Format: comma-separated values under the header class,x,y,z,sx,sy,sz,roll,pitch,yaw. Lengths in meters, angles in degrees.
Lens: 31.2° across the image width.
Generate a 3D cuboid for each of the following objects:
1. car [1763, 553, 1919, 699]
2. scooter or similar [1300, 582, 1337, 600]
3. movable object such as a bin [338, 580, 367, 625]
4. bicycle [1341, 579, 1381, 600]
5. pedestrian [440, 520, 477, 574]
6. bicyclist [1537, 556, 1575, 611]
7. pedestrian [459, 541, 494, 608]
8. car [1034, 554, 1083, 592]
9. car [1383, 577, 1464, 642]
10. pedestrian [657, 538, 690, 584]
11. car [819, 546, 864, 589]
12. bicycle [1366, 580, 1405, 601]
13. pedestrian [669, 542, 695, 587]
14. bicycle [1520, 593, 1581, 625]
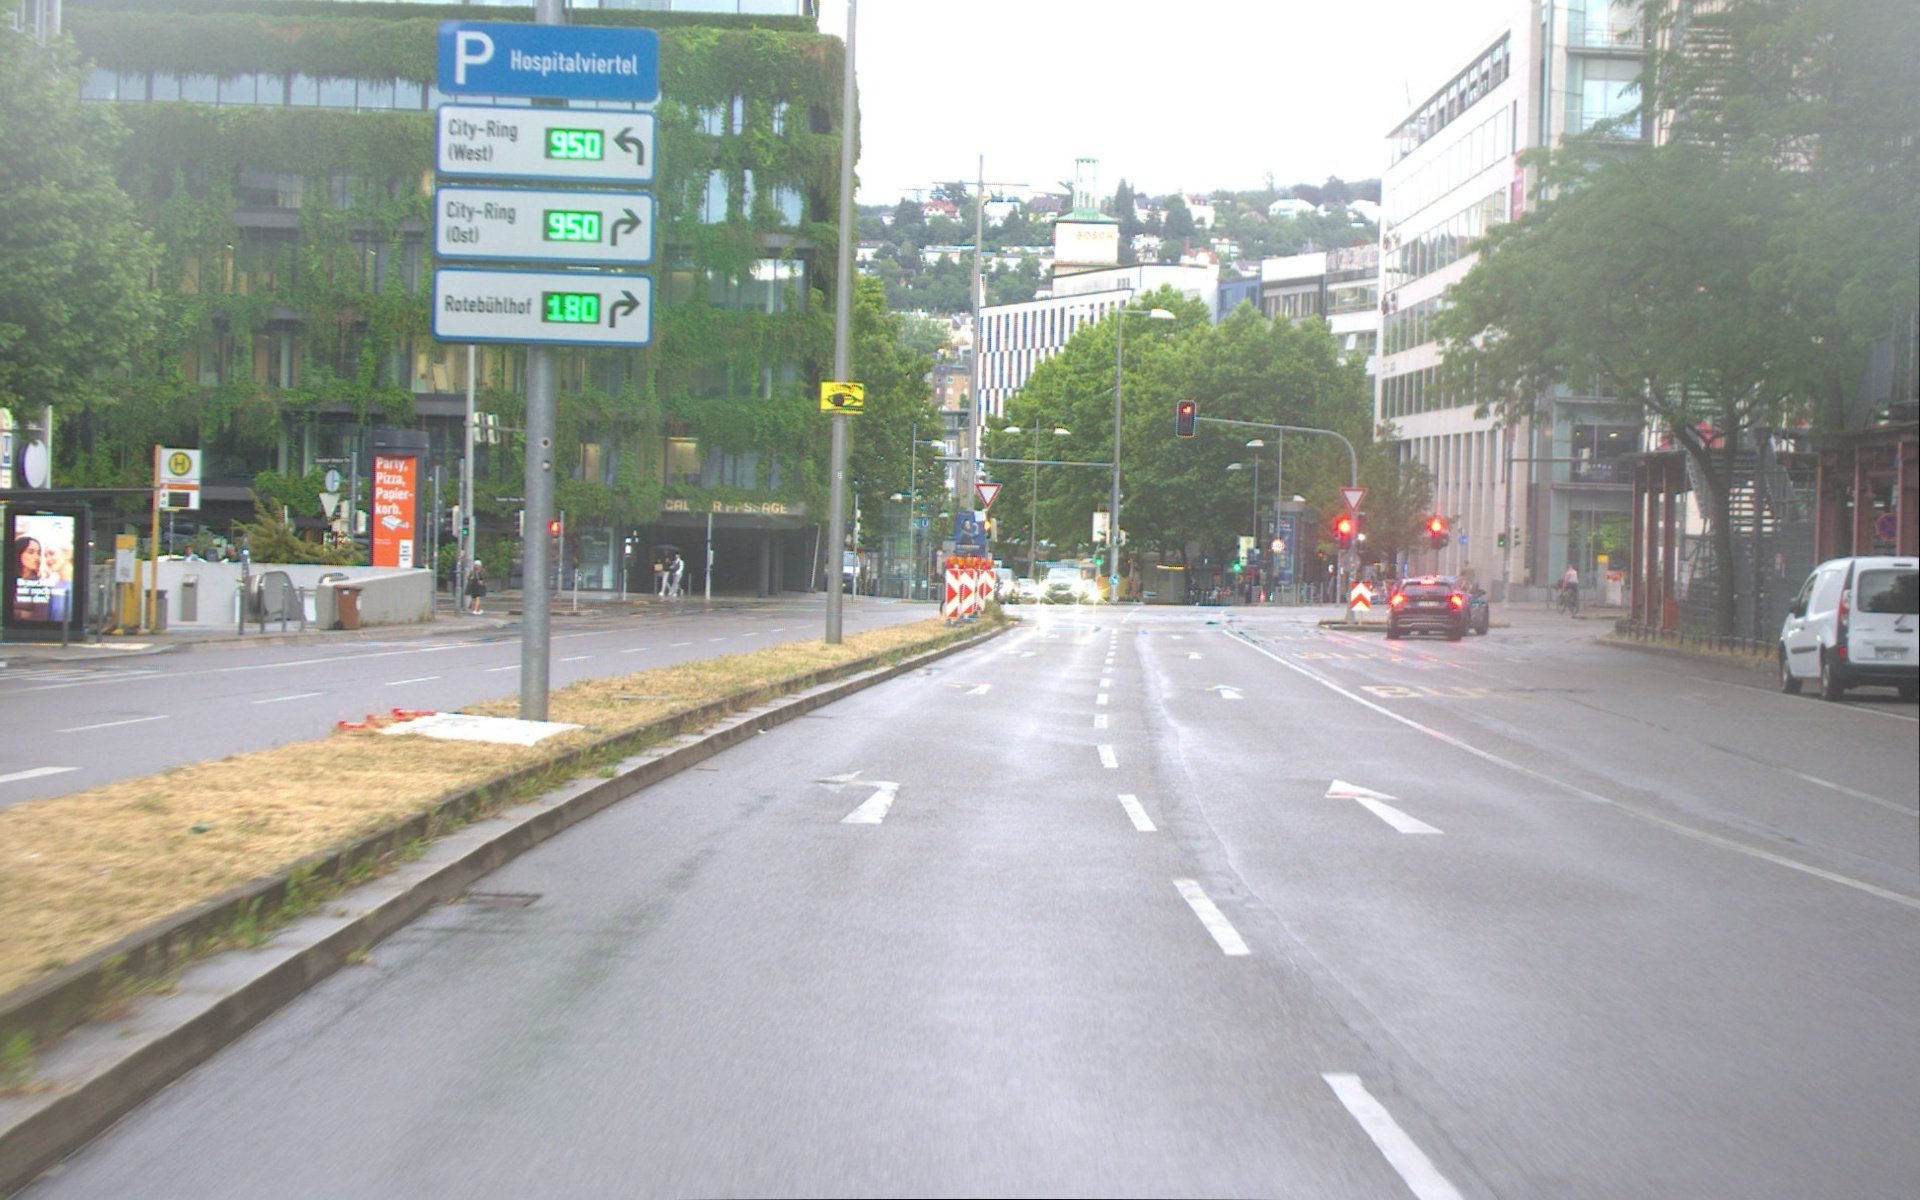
class,x,y,z,sx,sy,sz,roll,pitch,yaw
car,11.692,0.299,43.902,1.994,1.744,4.526,1,1,3
scooter or similar,17.536,-0.442,168.211,1.745,0.875,0.489,1,0,-16
movable object such as a bin,-12.269,0.047,69.453,0.531,0.894,0.682,-1,1,-6
bicycle,18.775,-0.480,160.975,1.795,0.931,0.475,1,1,6
pedestrian,-14.987,-1.582,102.826,0.920,1.580,0.834,-3,1,-1
bicyclist,21.945,-0.607,126.647,0.791,1.968,1.114,1,0,-37
pedestrian,-13.830,-0.734,98.362,0.805,1.879,0.866,-3,1,-3
car,4.254,-1.165,147.740,1.994,1.545,4.555,1,1,3
car,11.488,0.211,85.442,1.778,1.535,4.146,1,1,5
pedestrian,-11.069,-1.495,132.794,0.935,1.752,1.172,1,1,-20
car,-5.445,-1.502,158.051,1.993,1.888,4.465,1,1,-1
bicycle,19.169,-0.434,154.762,1.799,0.931,0.474,2,1,44
pedestrian,-10.755,-1.380,133.050,0.741,1.752,0.976,1,1,-20
bicycle,21.781,0.322,126.853,0.791,1.113,2.255,1,1,-37
